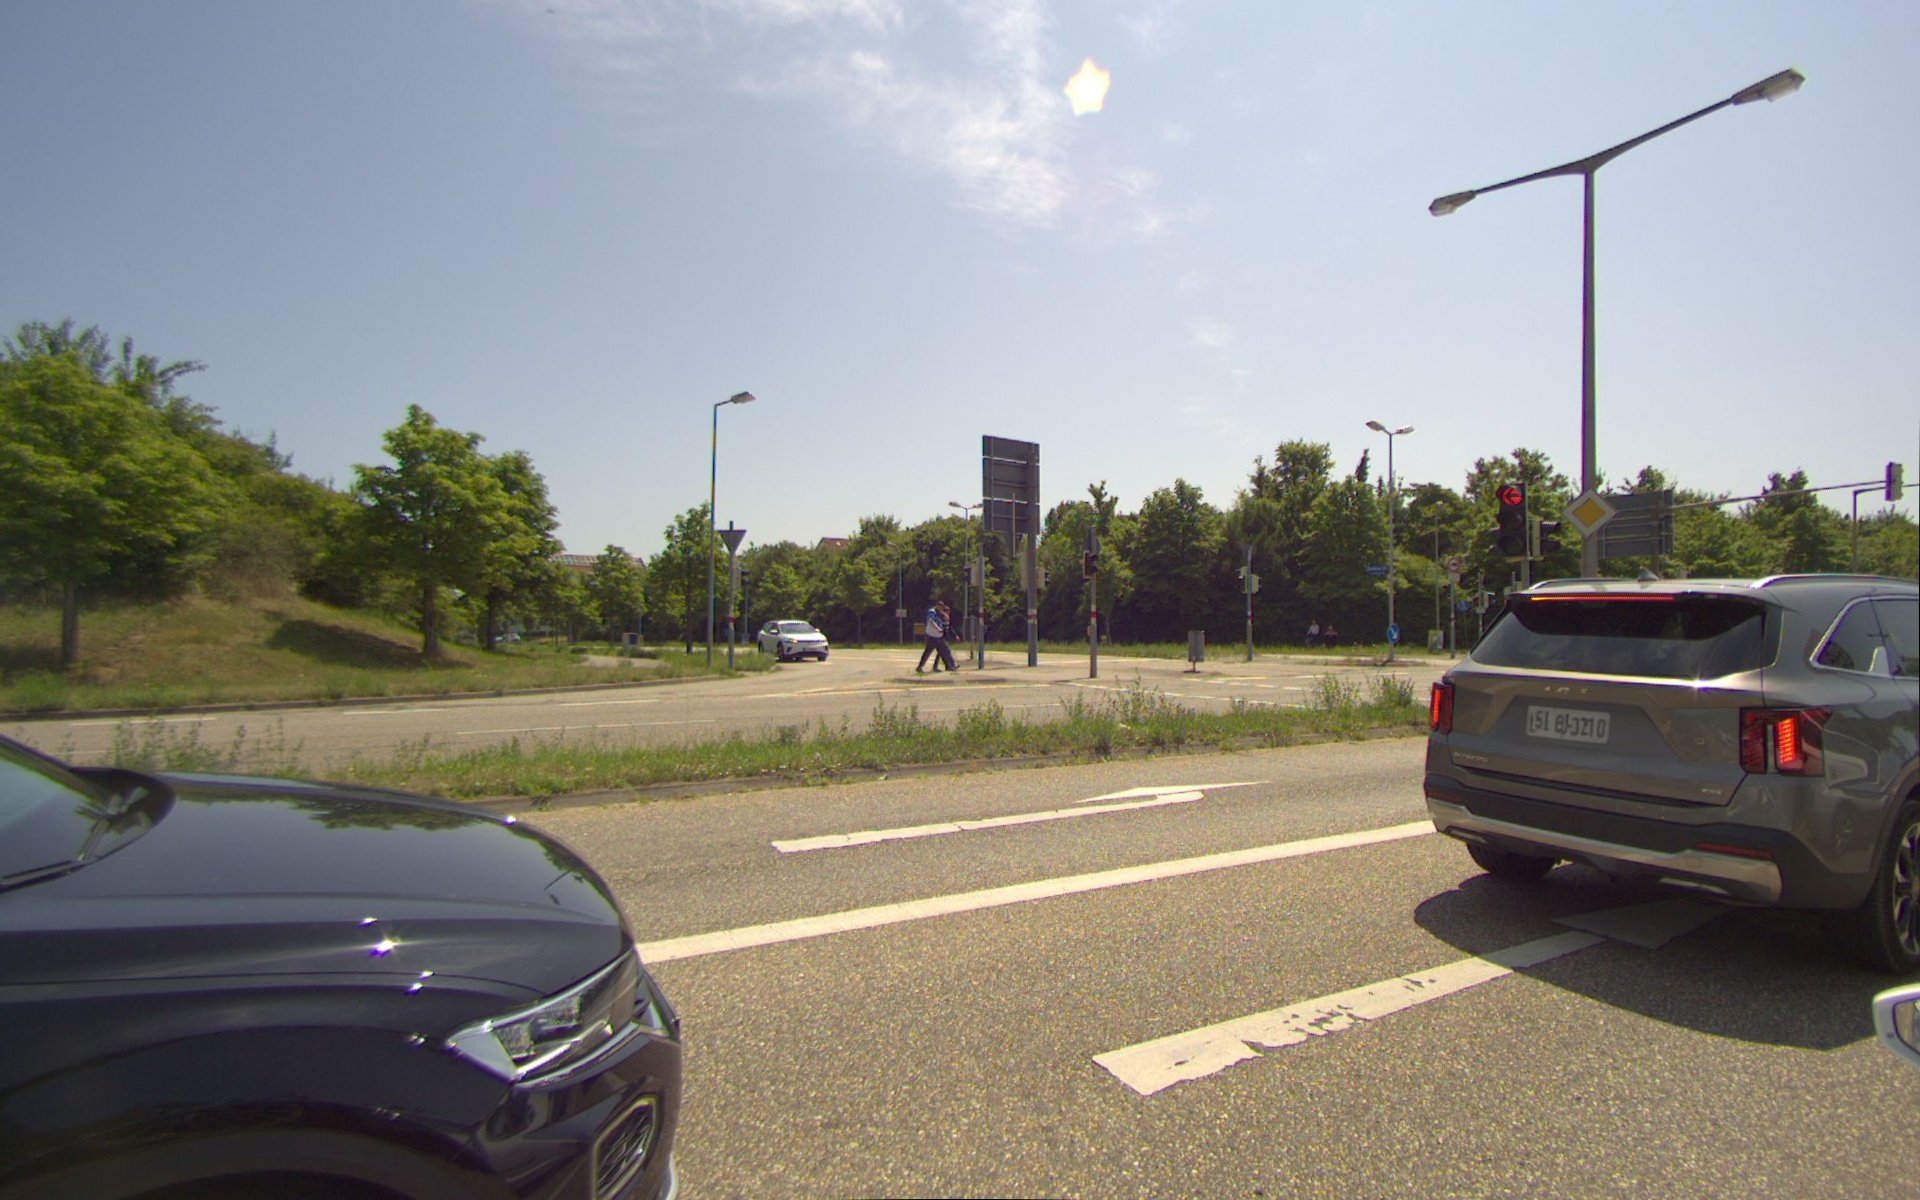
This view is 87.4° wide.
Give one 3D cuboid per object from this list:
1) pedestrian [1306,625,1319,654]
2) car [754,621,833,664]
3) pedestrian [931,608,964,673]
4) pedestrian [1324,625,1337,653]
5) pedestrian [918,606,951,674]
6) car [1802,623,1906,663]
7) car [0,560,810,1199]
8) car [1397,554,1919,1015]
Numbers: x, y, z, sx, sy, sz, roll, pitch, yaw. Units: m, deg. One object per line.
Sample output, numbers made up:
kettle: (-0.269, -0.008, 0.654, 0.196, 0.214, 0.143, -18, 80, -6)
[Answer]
pedestrian: (19.726, 2.201, 56.241, 0.606, 1.624, 0.798, -1, -1, 24)
car: (-6.695, 1.677, 40.127, 1.855, 1.522, 4.279, -2, -1, -28)
pedestrian: (-0.337, 1.088, 27.239, 0.761, 1.722, 0.723, 0, -1, -11)
pedestrian: (20.593, 2.177, 55.788, 0.606, 1.523, 0.798, 0, -1, 24)
pedestrian: (-0.669, 1.042, 26.217, 0.779, 1.759, 0.582, 0, -1, -11)
car: (34.384, 1.623, 38.631, 4.119, 1.475, 1.814, 1, -1, -30)
car: (-2.385, 0.685, 1.442, 3.924, 1.532, 1.726, 2, 0, -30)
car: (4.697, 0.735, 5.627, 4.590, 1.684, 1.795, 1, -1, -30)
